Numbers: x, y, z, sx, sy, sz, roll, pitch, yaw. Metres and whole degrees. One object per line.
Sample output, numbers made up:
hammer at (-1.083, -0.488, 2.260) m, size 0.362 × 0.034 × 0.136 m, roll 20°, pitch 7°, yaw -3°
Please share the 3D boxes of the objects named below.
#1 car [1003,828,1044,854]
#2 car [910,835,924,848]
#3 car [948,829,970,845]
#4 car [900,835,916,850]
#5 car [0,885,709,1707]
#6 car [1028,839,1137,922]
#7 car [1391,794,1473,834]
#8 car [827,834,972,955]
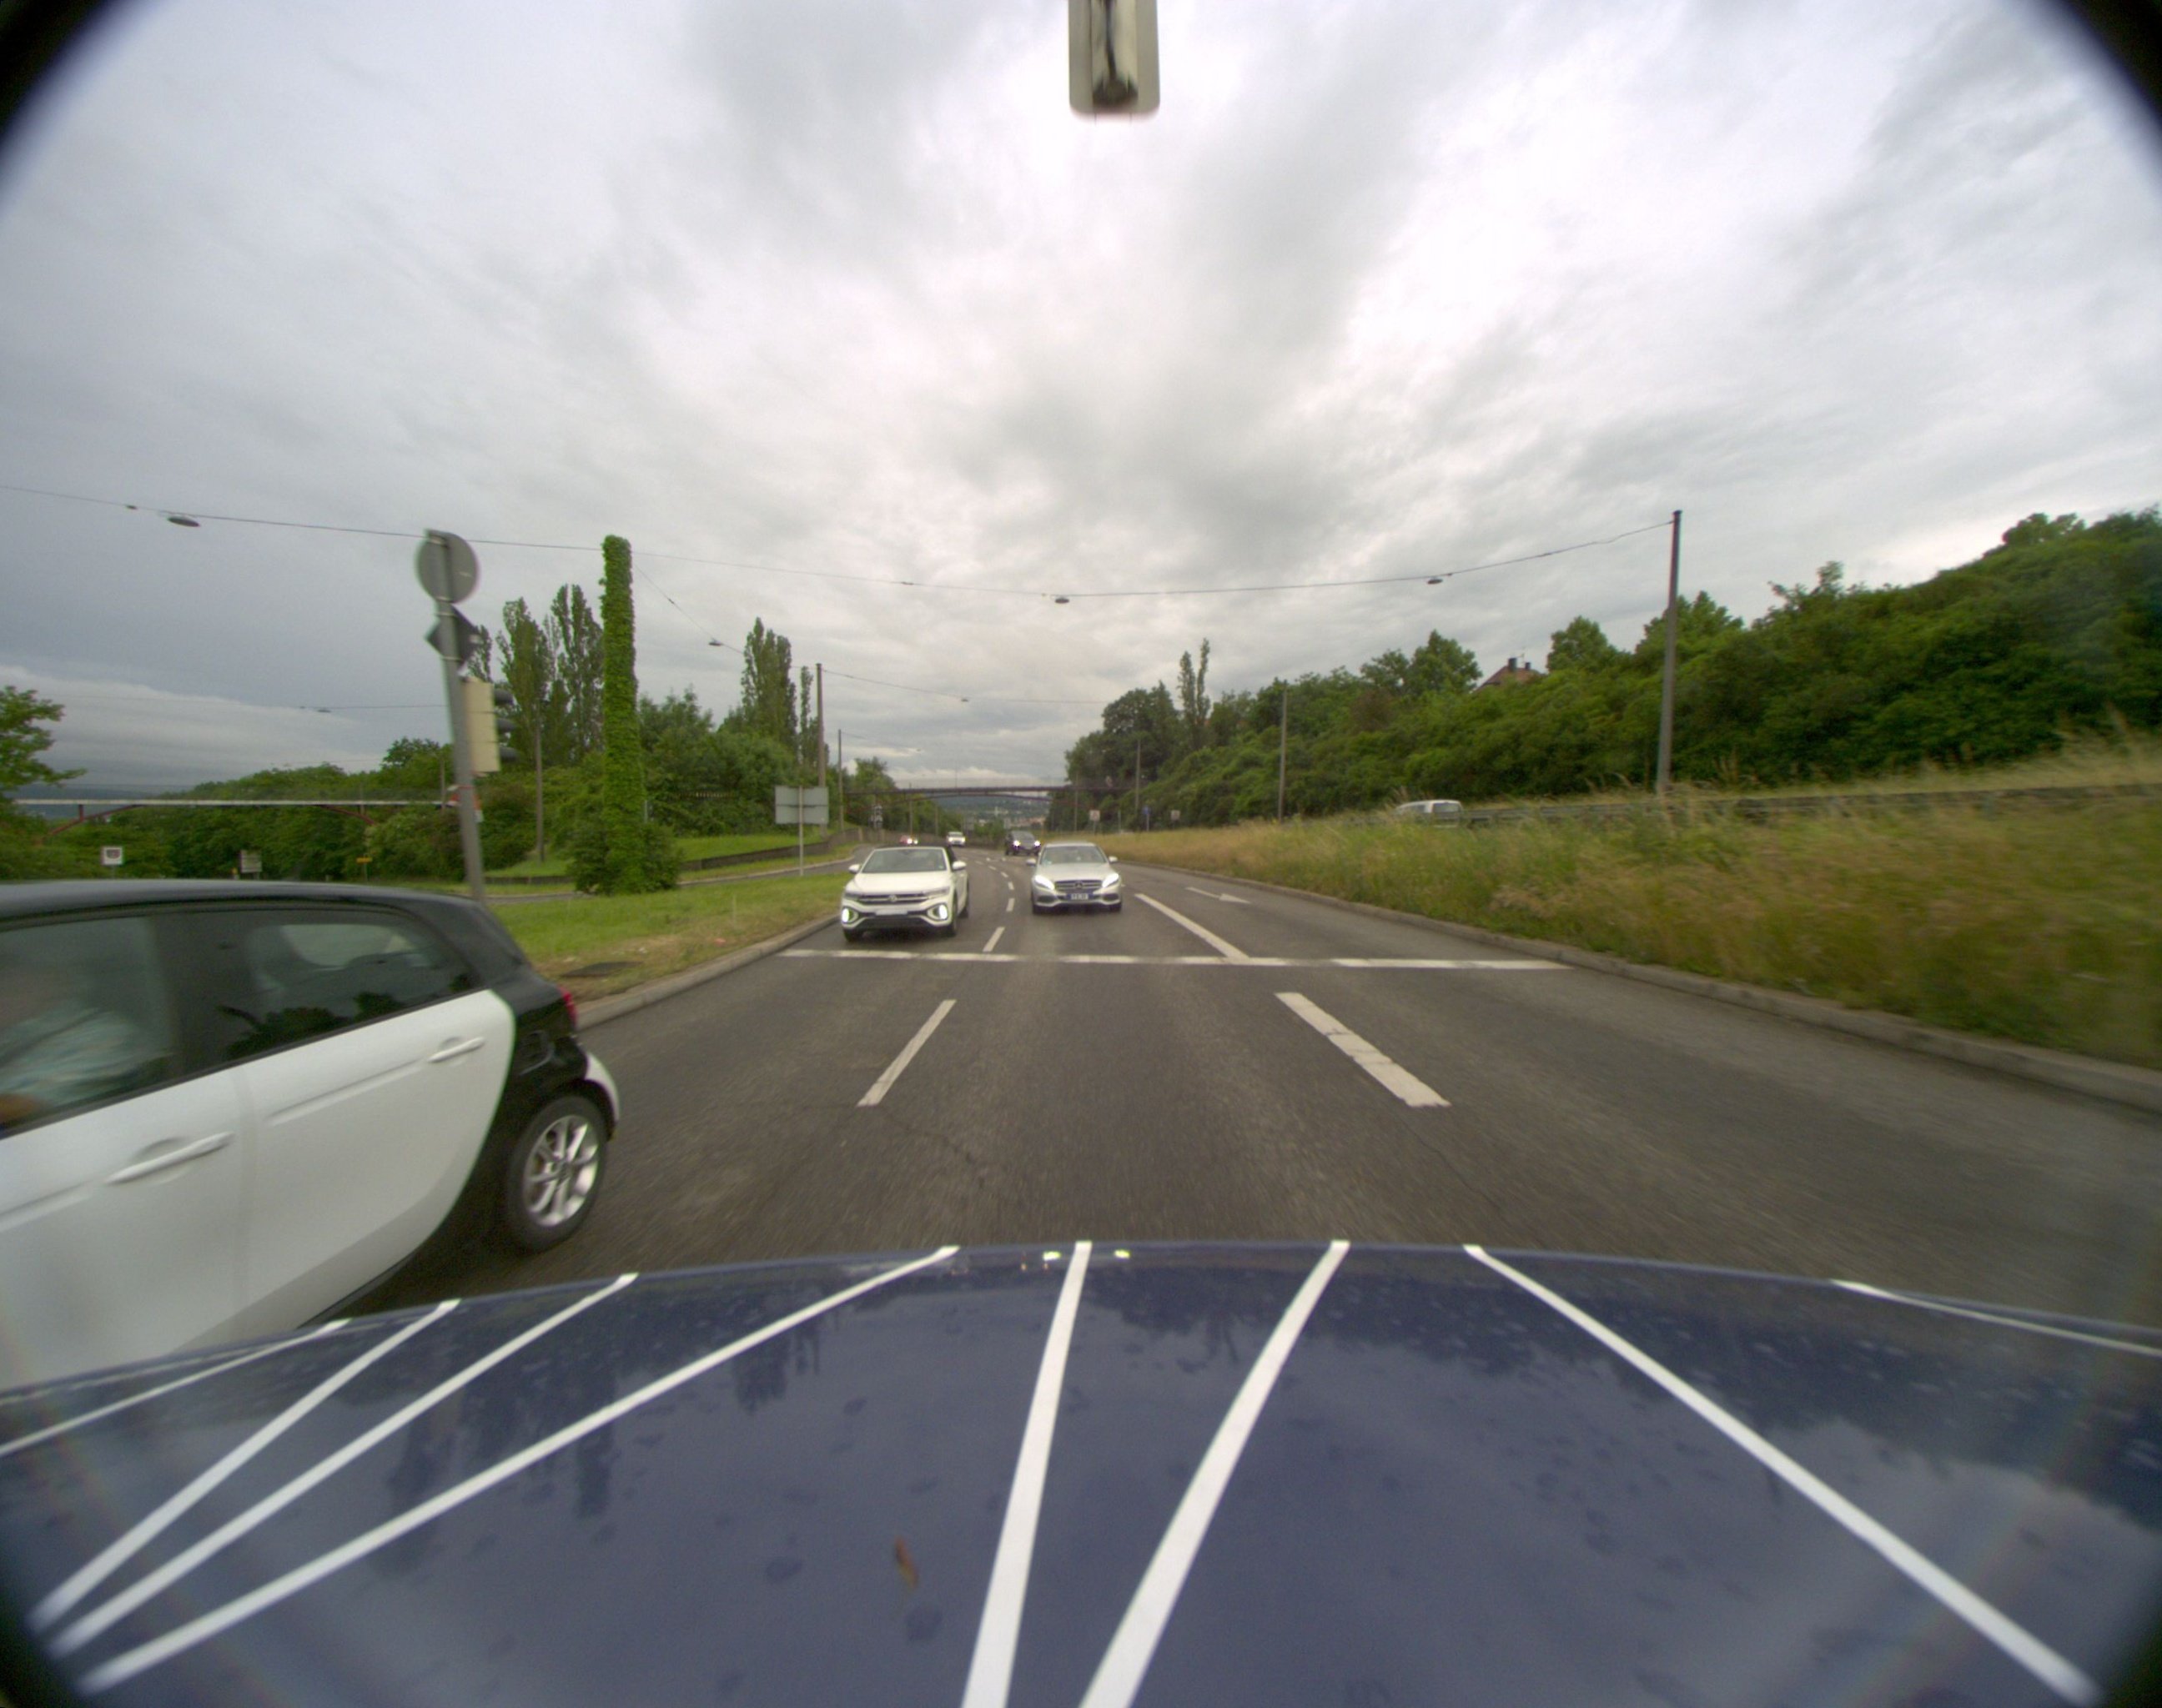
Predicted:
car at (-4.040, -0.885, 52.651) m, size 1.930 × 1.725 × 4.019 m, roll -3°, pitch 1°, yaw -17°
car at (-27.034, -2.064, 125.362) m, size 2.001 × 2.002 × 3.994 m, roll -3°, pitch 1°, yaw -15°
car at (-14.173, -1.921, 88.056) m, size 2.001 × 1.682 × 4.282 m, roll -3°, pitch 1°, yaw -16°
car at (-25.223, -1.626, 110.668) m, size 2.001 × 2.002 × 3.994 m, roll -3°, pitch 1°, yaw -16°
car at (-2.962, 0.985, 1.995) m, size 1.725 × 1.513 × 4.227 m, roll -3°, pitch 1°, yaw 1°
car at (-0.125, 0.463, 16.807) m, size 1.999 × 1.400 × 4.521 m, roll -3°, pitch 2°, yaw -4°
car at (14.142, -1.591, 30.803) m, size 1.561 × 1.424 × 3.227 m, roll -3°, pitch 2°, yaw -5°
car at (-3.003, 0.562, 13.393) m, size 1.844 × 1.533 × 3.812 m, roll -2°, pitch 5°, yaw -4°
